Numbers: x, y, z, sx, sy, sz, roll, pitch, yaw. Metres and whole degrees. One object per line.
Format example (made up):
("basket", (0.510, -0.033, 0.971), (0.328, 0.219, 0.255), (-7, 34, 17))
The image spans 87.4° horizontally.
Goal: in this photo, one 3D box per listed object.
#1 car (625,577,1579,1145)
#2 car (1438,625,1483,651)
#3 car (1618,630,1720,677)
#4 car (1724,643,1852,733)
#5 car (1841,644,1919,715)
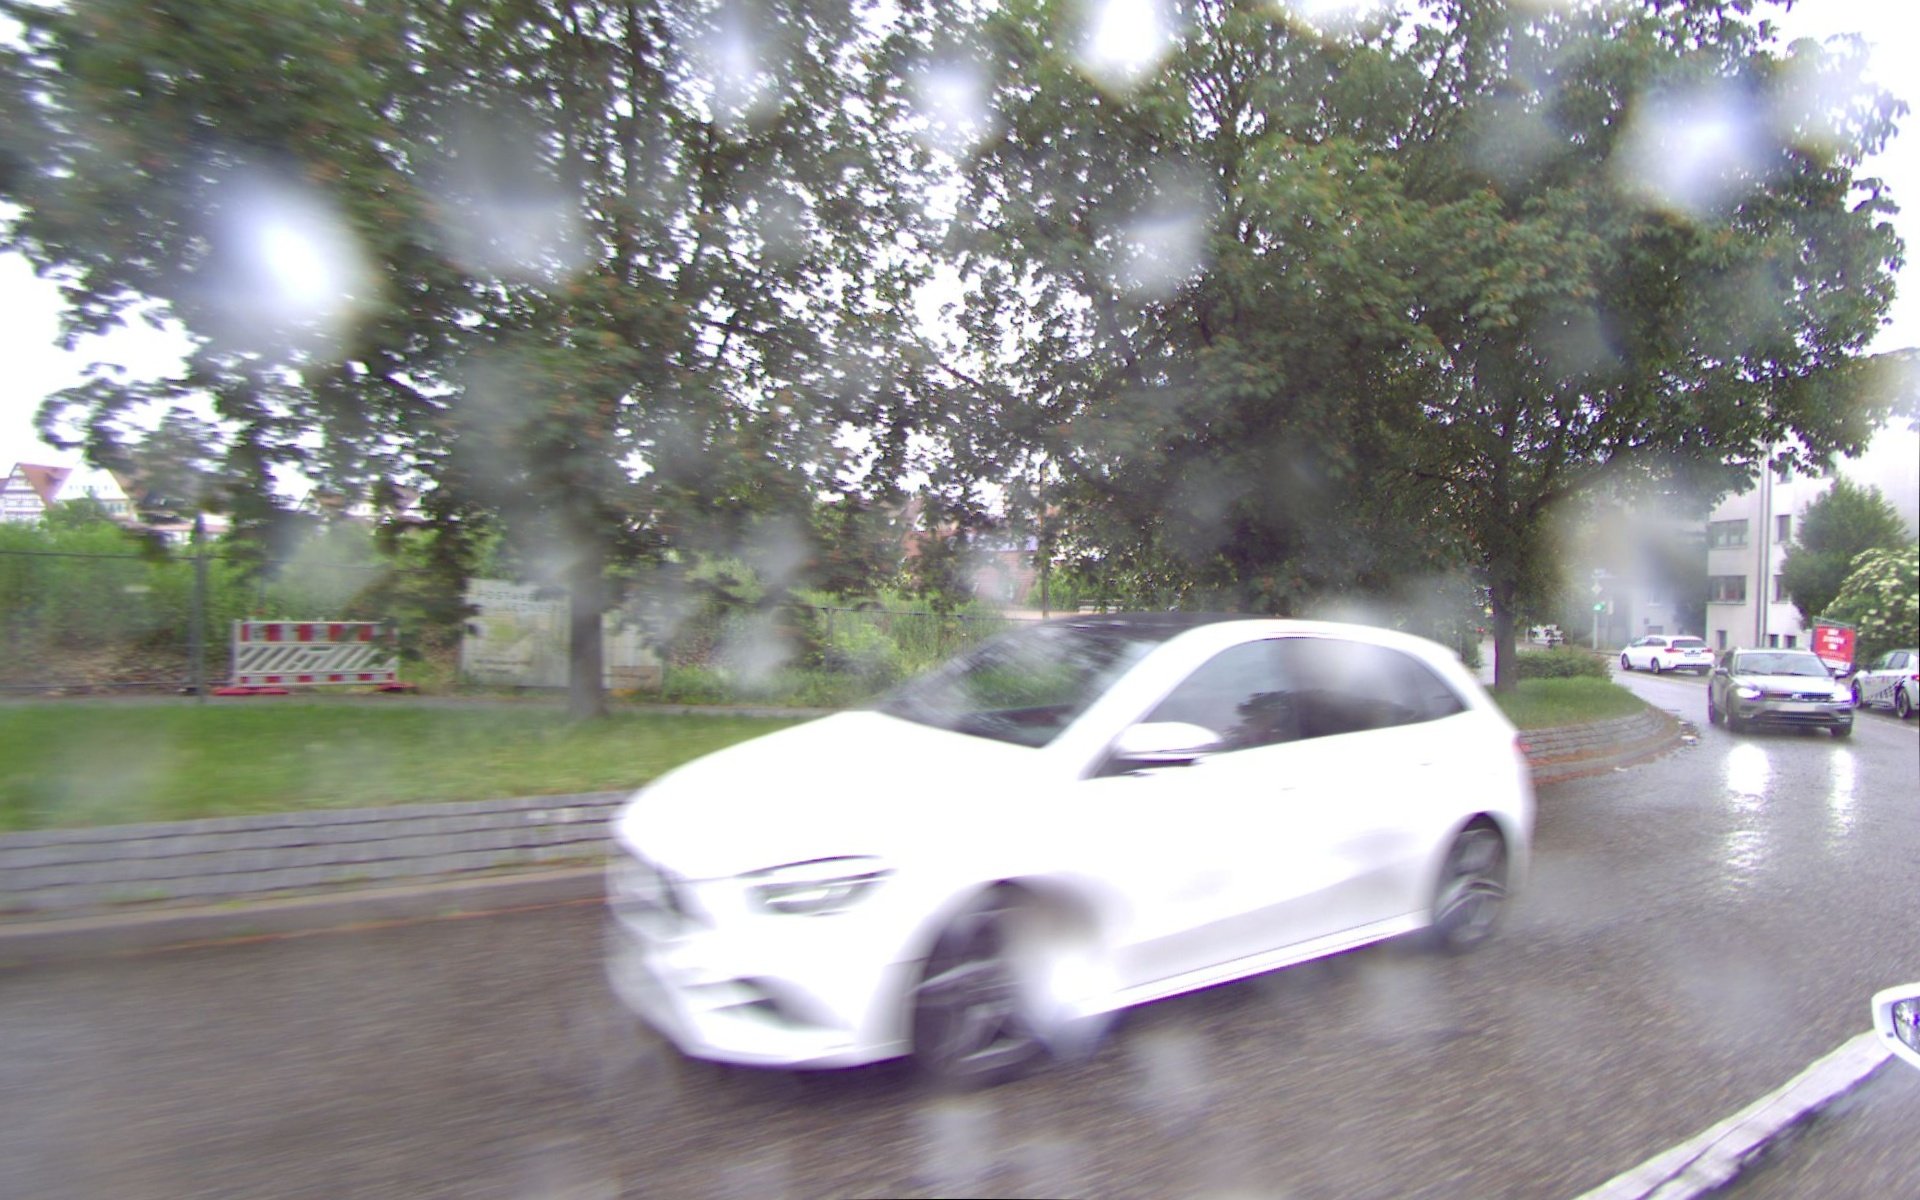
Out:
("car", (0.852, 0.749, 4.579), (4.213, 1.525, 1.713), (2, 0, -33))
("car", (33.597, 2.508, 67.515), (1.860, 1.612, 3.690), (0, 0, 13))
("car", (27.298, 2.031, 38.819), (1.698, 1.611, 4.187), (2, -2, 13))
("car", (16.630, 1.714, 20.351), (1.705, 1.563, 4.287), (0, -3, 36))
("car", (22.498, 1.843, 23.500), (1.789, 1.378, 3.985), (2, 1, 26))
